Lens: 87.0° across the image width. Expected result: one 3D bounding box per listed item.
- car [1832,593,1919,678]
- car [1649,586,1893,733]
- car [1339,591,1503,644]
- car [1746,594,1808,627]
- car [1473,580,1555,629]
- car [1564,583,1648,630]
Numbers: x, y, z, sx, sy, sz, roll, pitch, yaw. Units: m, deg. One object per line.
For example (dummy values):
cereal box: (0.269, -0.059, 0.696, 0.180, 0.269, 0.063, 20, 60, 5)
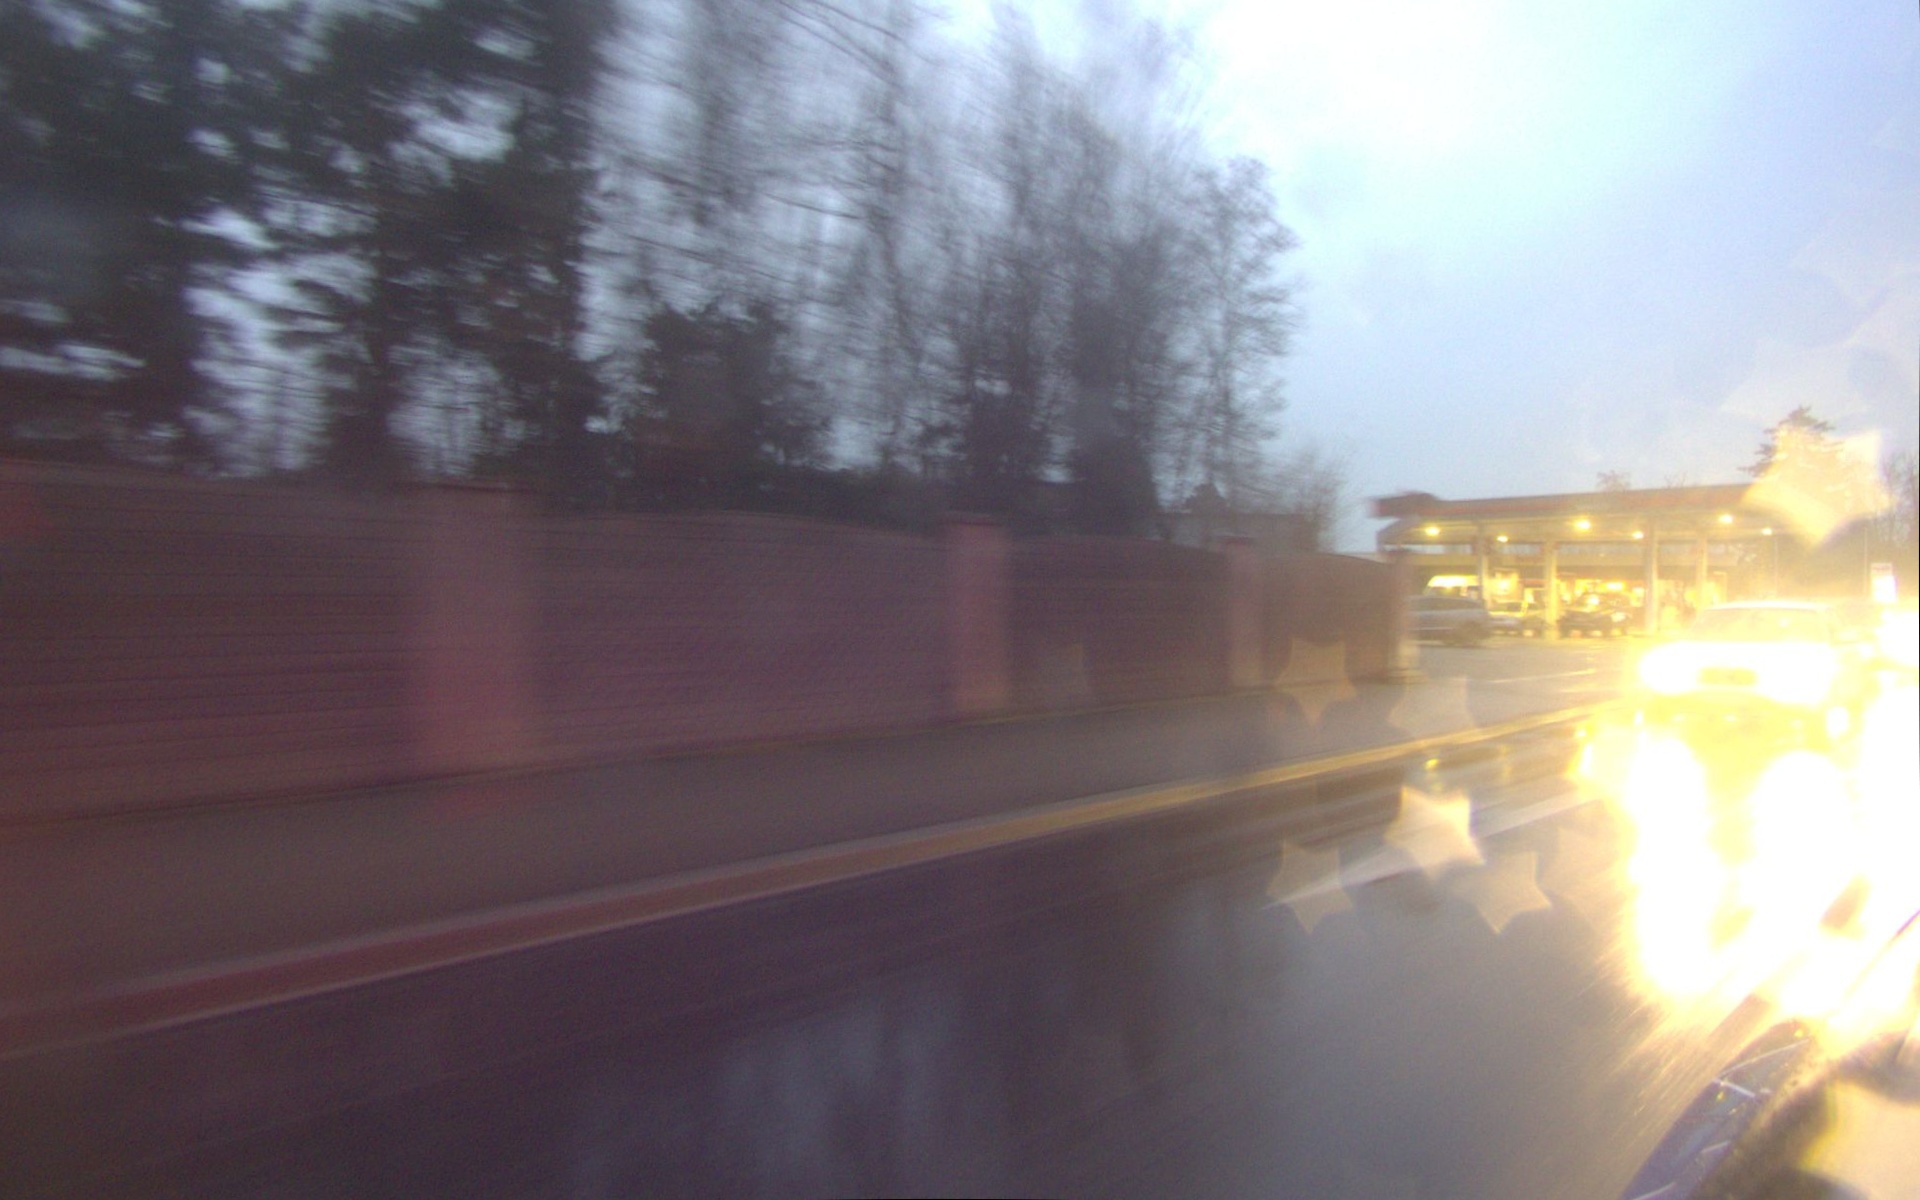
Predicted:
car: (18.705, 0.645, 20.082, 3.936, 1.548, 1.568, 0, 0, -41)
car: (10.594, 0.635, 13.098, 4.386, 1.595, 1.711, 0, 0, -41)
car: (14.868, 0.535, 32.851, 4.405, 1.628, 2.017, 0, 0, 6)
car: (38.058, 0.470, 47.108, 4.096, 1.414, 1.575, 0, 1, -42)
car: (24.433, 0.173, 44.582, 3.931, 2.039, 1.996, 0, 0, -42)
car: (27.987, 0.244, 43.806, 4.224, 1.882, 1.997, 0, 1, -42)
